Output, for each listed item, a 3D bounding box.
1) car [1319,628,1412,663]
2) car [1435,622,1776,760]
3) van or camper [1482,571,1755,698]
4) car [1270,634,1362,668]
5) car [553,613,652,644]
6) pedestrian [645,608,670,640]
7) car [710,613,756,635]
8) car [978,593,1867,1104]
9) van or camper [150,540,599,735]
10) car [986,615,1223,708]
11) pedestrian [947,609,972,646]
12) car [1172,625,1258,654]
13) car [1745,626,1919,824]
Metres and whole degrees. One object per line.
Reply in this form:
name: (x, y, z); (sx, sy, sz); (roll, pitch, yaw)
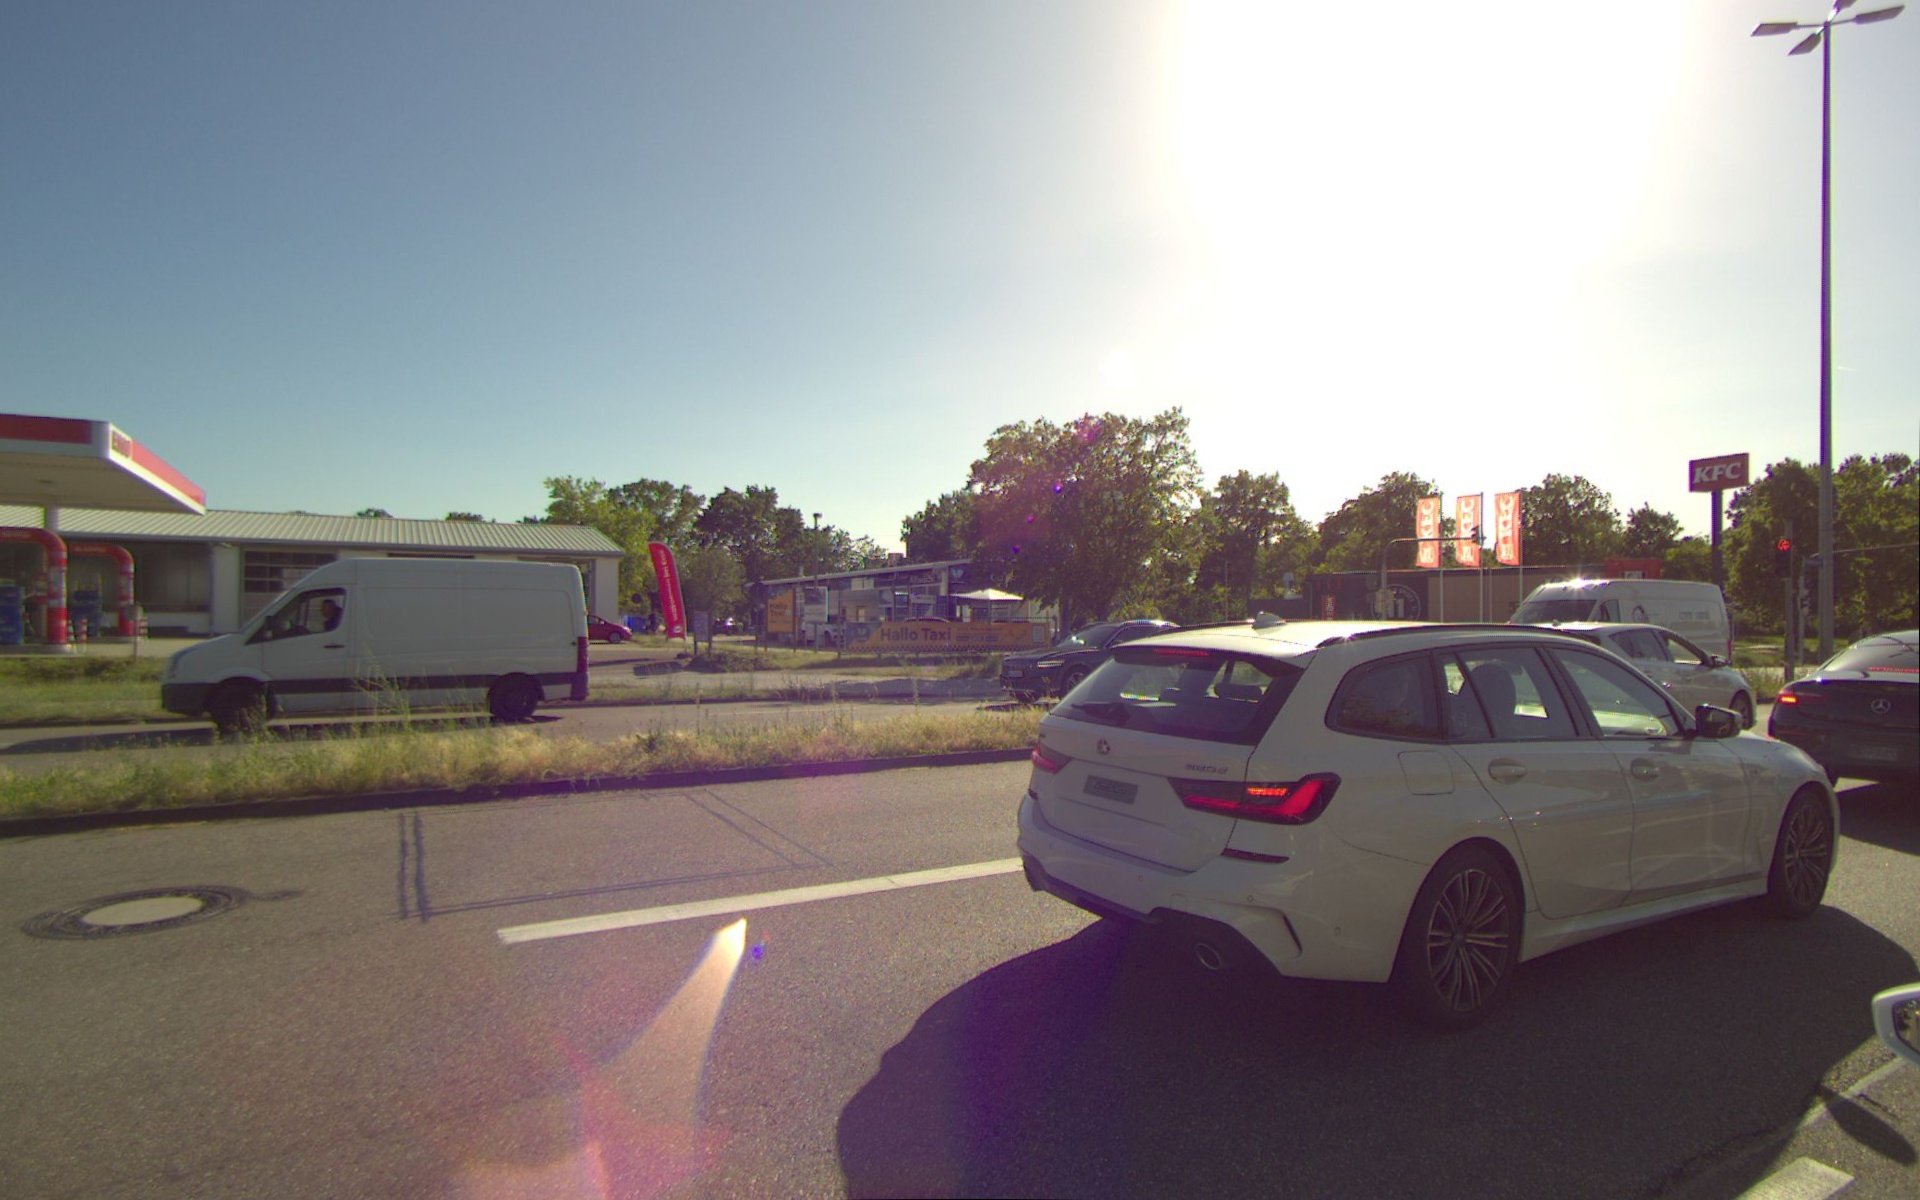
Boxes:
car: (20.067, 2.217, 49.853); (1.804, 1.616, 4.016); (1, -1, -31)
car: (8.140, 1.018, 12.590); (4.352, 1.448, 1.848); (1, -1, -30)
van or camper: (15.200, 0.824, 23.096); (6.666, 2.606, 2.171); (1, -3, -27)
car: (17.020, 2.396, 48.163); (1.801, 1.448, 4.022); (1, -1, -27)
car: (-17.688, 1.402, 49.714); (4.486, 1.458, 1.741); (1, -1, -26)
pedestrian: (-16.884, 1.335, 56.093); (1.088, 1.787, 1.149); (1, -1, -32)
car: (-19.930, 2.101, 88.257); (2.085, 1.840, 4.000); (0, -1, 20)
car: (2.419, 0.789, 4.903); (4.409, 1.529, 1.760); (1, -1, -30)
van or camper: (-9.081, 0.620, 16.198); (5.888, 2.685, 1.984); (1, -3, -31)
car: (2.968, 1.165, 20.298); (4.563, 1.675, 1.983); (1, -1, -32)
pedestrian: (-0.018, 1.381, 50.526); (0.806, 1.828, 0.949); (0, -1, 41)
car: (13.788, 2.115, 54.521); (1.840, 1.449, 4.700); (0, 0, -28)
car: (8.797, 0.958, 8.623); (4.409, 1.433, 1.760); (1, -1, -30)
